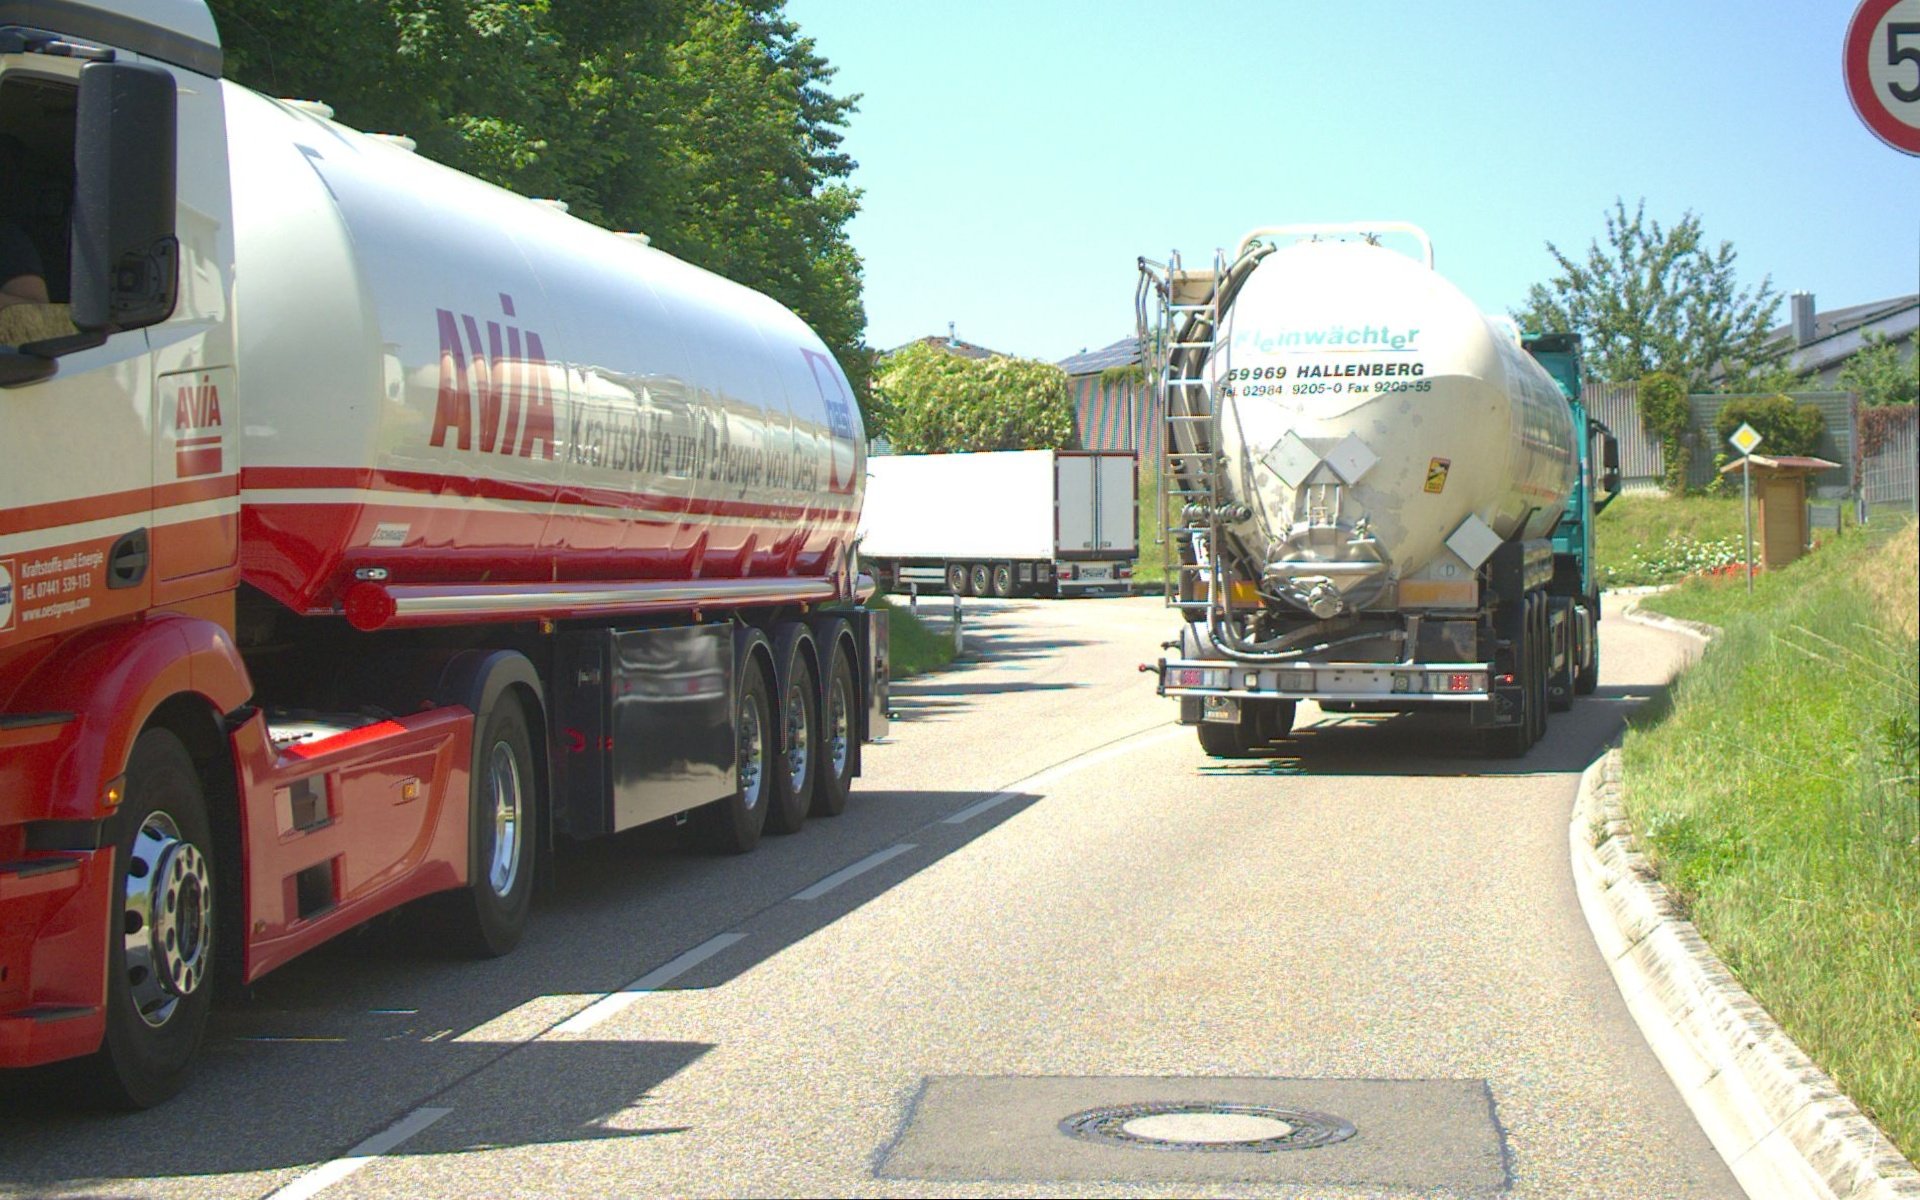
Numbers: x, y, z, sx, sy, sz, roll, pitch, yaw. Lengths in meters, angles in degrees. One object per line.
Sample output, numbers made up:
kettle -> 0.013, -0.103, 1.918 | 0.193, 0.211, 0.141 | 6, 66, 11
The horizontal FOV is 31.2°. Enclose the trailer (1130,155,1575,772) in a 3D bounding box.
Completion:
trailer -> 3.711, -0.988, 29.341 | 2.662, 4.174, 11.898 | 0, 1, 12

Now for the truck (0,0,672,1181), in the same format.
truck -> -3.097, -0.210, 11.651 | 2.627, 3.159, 7.065 | 0, 0, 9

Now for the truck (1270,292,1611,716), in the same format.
truck -> 5.147, -0.921, 35.695 | 2.729, 3.916, 7.259 | -1, 0, 14

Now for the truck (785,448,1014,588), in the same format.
truck -> -1.898, -2.447, 102.145 | 3.190, 3.920, 8.252 | 1, 1, -29

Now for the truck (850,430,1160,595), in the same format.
truck -> 1.077, -2.474, 96.909 | 3.190, 4.295, 11.801 | 1, 1, -29

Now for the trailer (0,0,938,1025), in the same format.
trailer -> -2.313, -0.353, 16.719 | 2.634, 3.361, 11.139 | -1, 0, 9
